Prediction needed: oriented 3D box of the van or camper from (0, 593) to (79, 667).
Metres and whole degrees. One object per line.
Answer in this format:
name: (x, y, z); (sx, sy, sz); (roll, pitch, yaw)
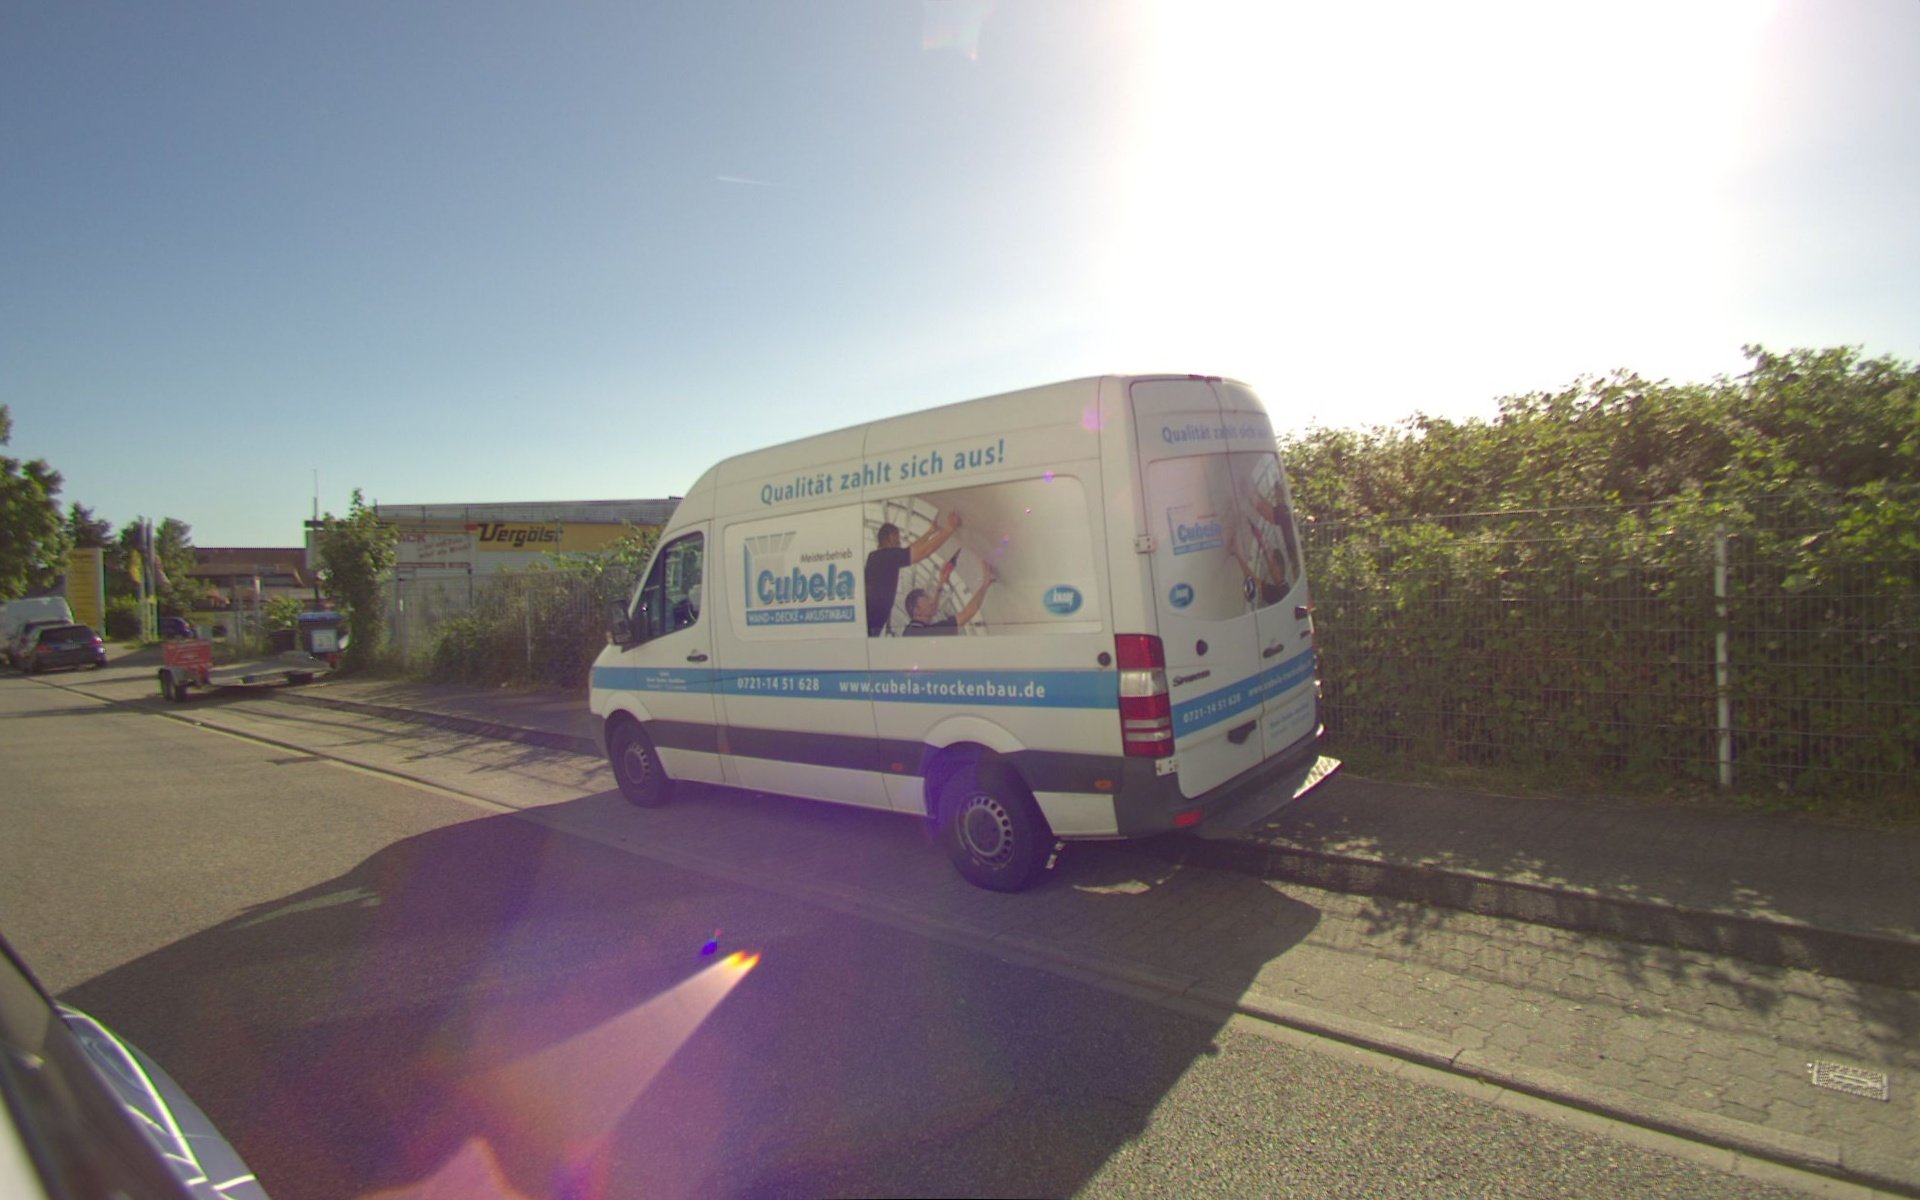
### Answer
van or camper: (-36.931, 1.158, 40.104); (6.401, 2.567, 2.050); (-2, 4, 42)

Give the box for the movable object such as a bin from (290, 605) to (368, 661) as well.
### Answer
movable object such as a bin: (-17.400, 0.890, 27.964); (1.596, 1.415, 1.099); (-2, 1, -21)

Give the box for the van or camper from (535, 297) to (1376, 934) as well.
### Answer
van or camper: (-0.551, 0.034, 7.031); (5.948, 2.704, 1.946); (-1, 5, 43)

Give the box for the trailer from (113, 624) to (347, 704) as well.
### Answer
trailer: (-14.517, 1.191, 19.940); (6.242, 1.087, 2.352); (-2, 4, 41)

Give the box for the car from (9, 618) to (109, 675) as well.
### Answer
car: (-29.092, 1.457, 32.607); (5.001, 1.521, 1.781); (-1, 4, 42)

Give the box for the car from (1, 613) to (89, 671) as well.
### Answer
car: (-32.864, 1.460, 36.313); (4.577, 1.750, 1.972); (-1, 4, 45)

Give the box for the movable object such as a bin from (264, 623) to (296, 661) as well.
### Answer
movable object such as a bin: (-18.620, 1.146, 27.719); (0.606, 0.979, 0.752); (-1, 1, -24)

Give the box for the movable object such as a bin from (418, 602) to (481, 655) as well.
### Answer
movable object such as a bin: (-14.464, 0.792, 28.697); (1.441, 1.415, 1.099); (-2, 1, -21)
